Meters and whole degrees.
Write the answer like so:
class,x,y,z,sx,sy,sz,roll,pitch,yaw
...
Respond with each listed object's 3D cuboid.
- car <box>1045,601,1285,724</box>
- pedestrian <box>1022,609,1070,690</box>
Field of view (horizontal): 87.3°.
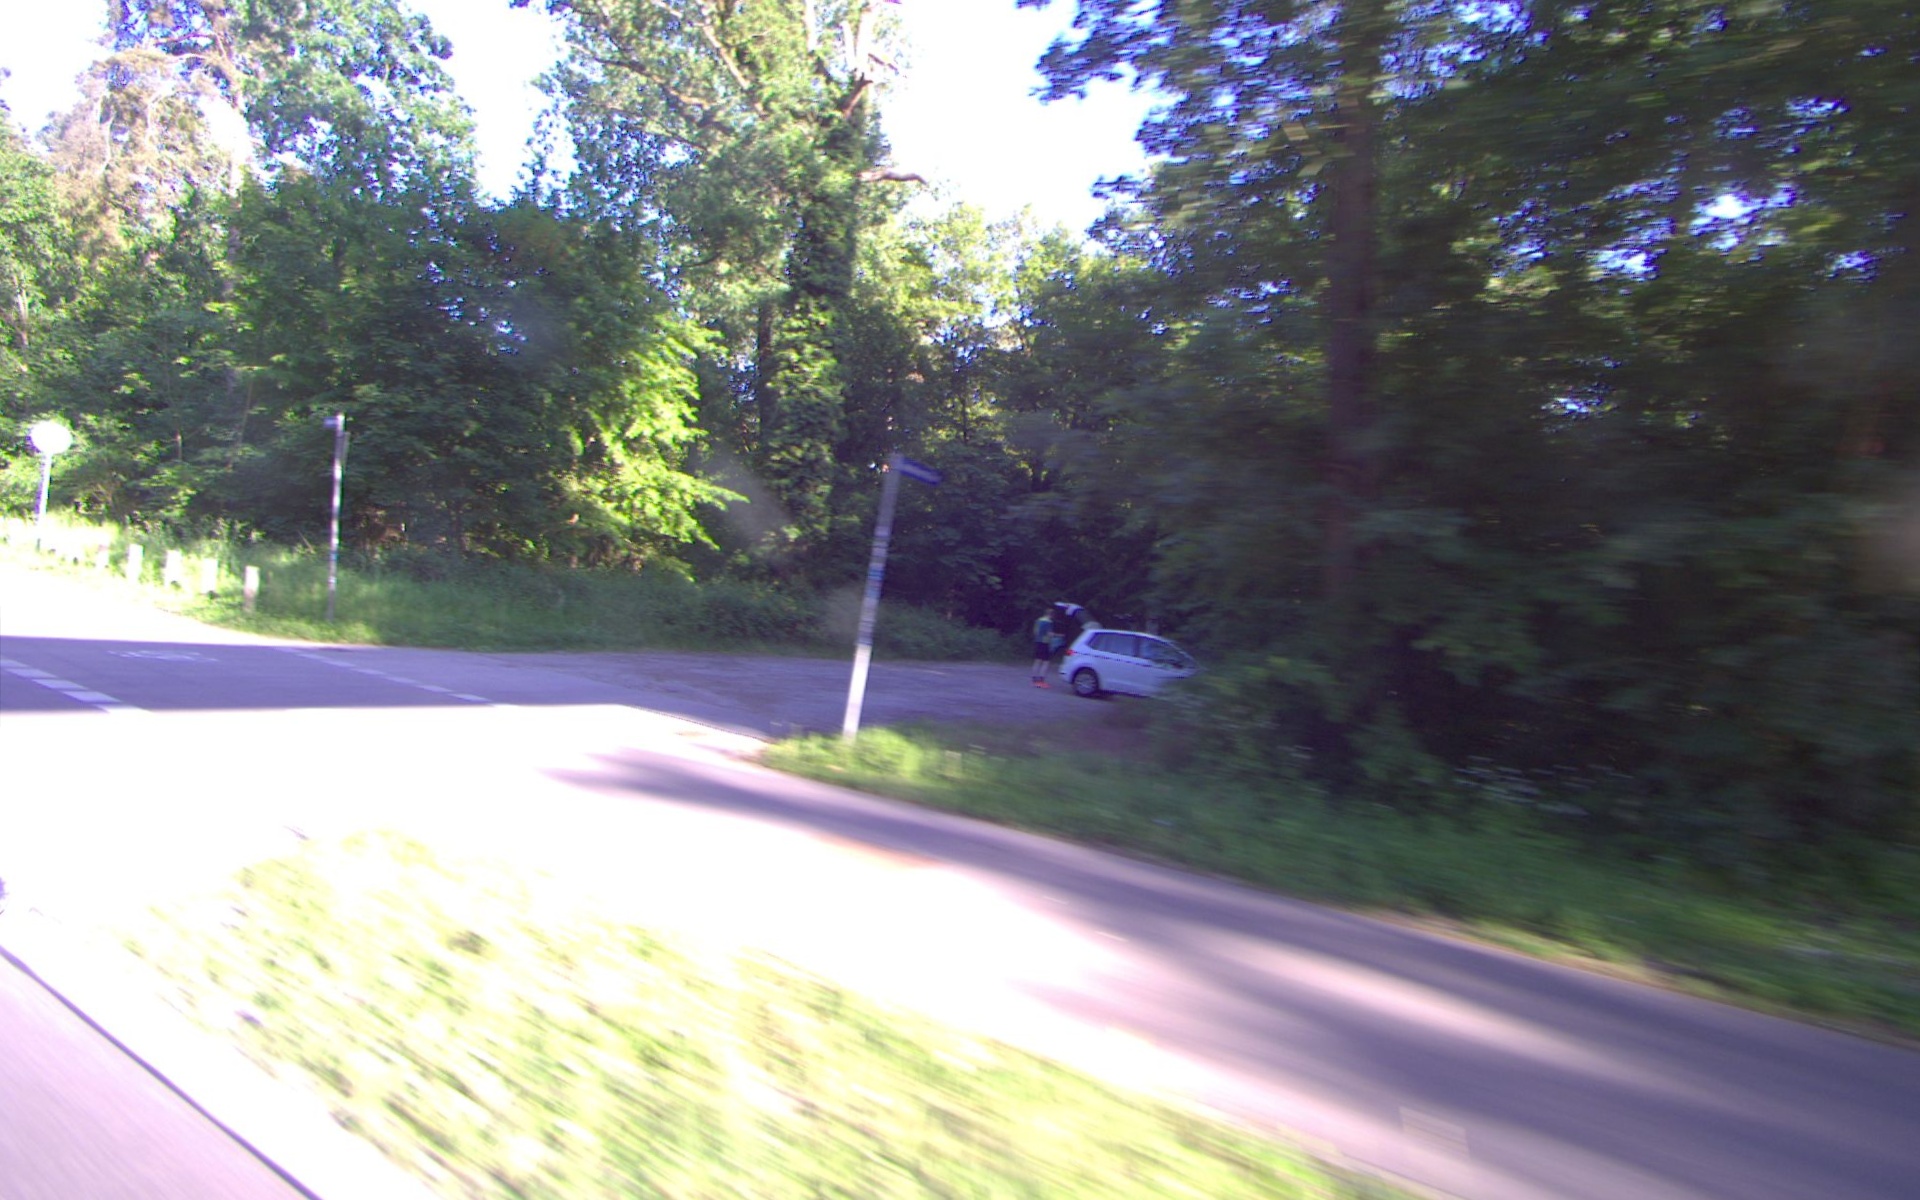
class,x,y,z,sx,sy,sz,roll,pitch,yaw
car,4.512,1.364,22.244,4.672,2.036,2.000,6,-2,27
pedestrian,2.018,1.162,23.557,0.748,1.788,0.665,7,1,26
